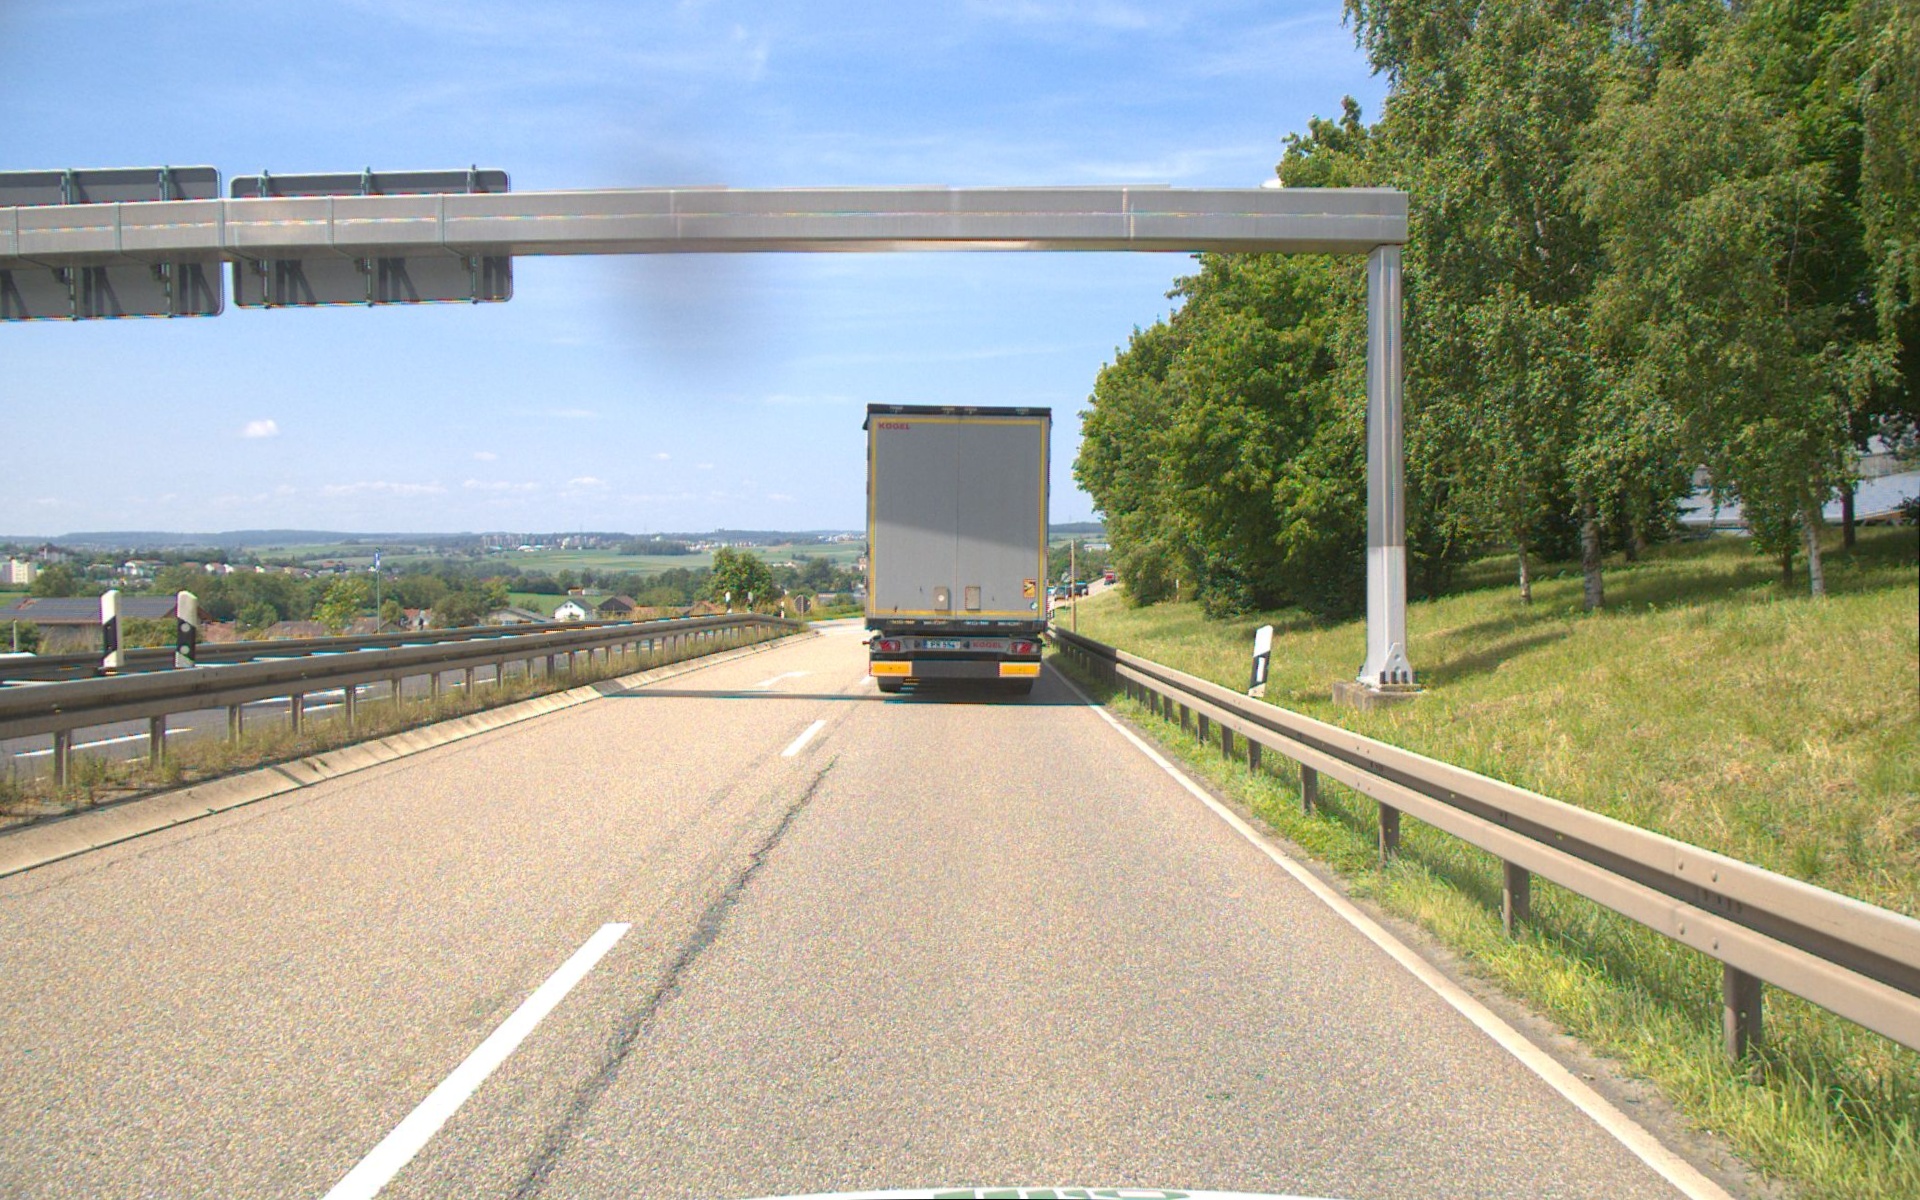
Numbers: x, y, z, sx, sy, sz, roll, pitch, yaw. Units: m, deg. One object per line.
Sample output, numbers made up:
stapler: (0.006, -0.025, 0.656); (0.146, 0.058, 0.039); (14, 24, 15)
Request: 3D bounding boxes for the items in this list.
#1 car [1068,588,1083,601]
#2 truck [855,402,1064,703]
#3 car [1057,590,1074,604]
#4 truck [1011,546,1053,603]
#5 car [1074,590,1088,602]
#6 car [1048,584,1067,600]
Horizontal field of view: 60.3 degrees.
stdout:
car: (15.651, -0.743, 224.288); (1.750, 1.717, 3.999); (0, -1, -1)
truck: (-0.013, -0.679, 27.898); (2.742, 3.998, 11.341); (1, 0, 0)
car: (12.913, -0.375, 203.050); (1.750, 1.717, 3.999); (0, -1, -1)
truck: (5.189, -1.734, 117.871); (2.599, 3.830, 10.167); (0, -1, 5)
car: (17.786, -0.537, 243.586); (1.750, 1.717, 3.999); (0, -1, -1)
car: (10.772, -0.853, 182.883); (1.750, 1.717, 3.999); (0, -1, -1)
